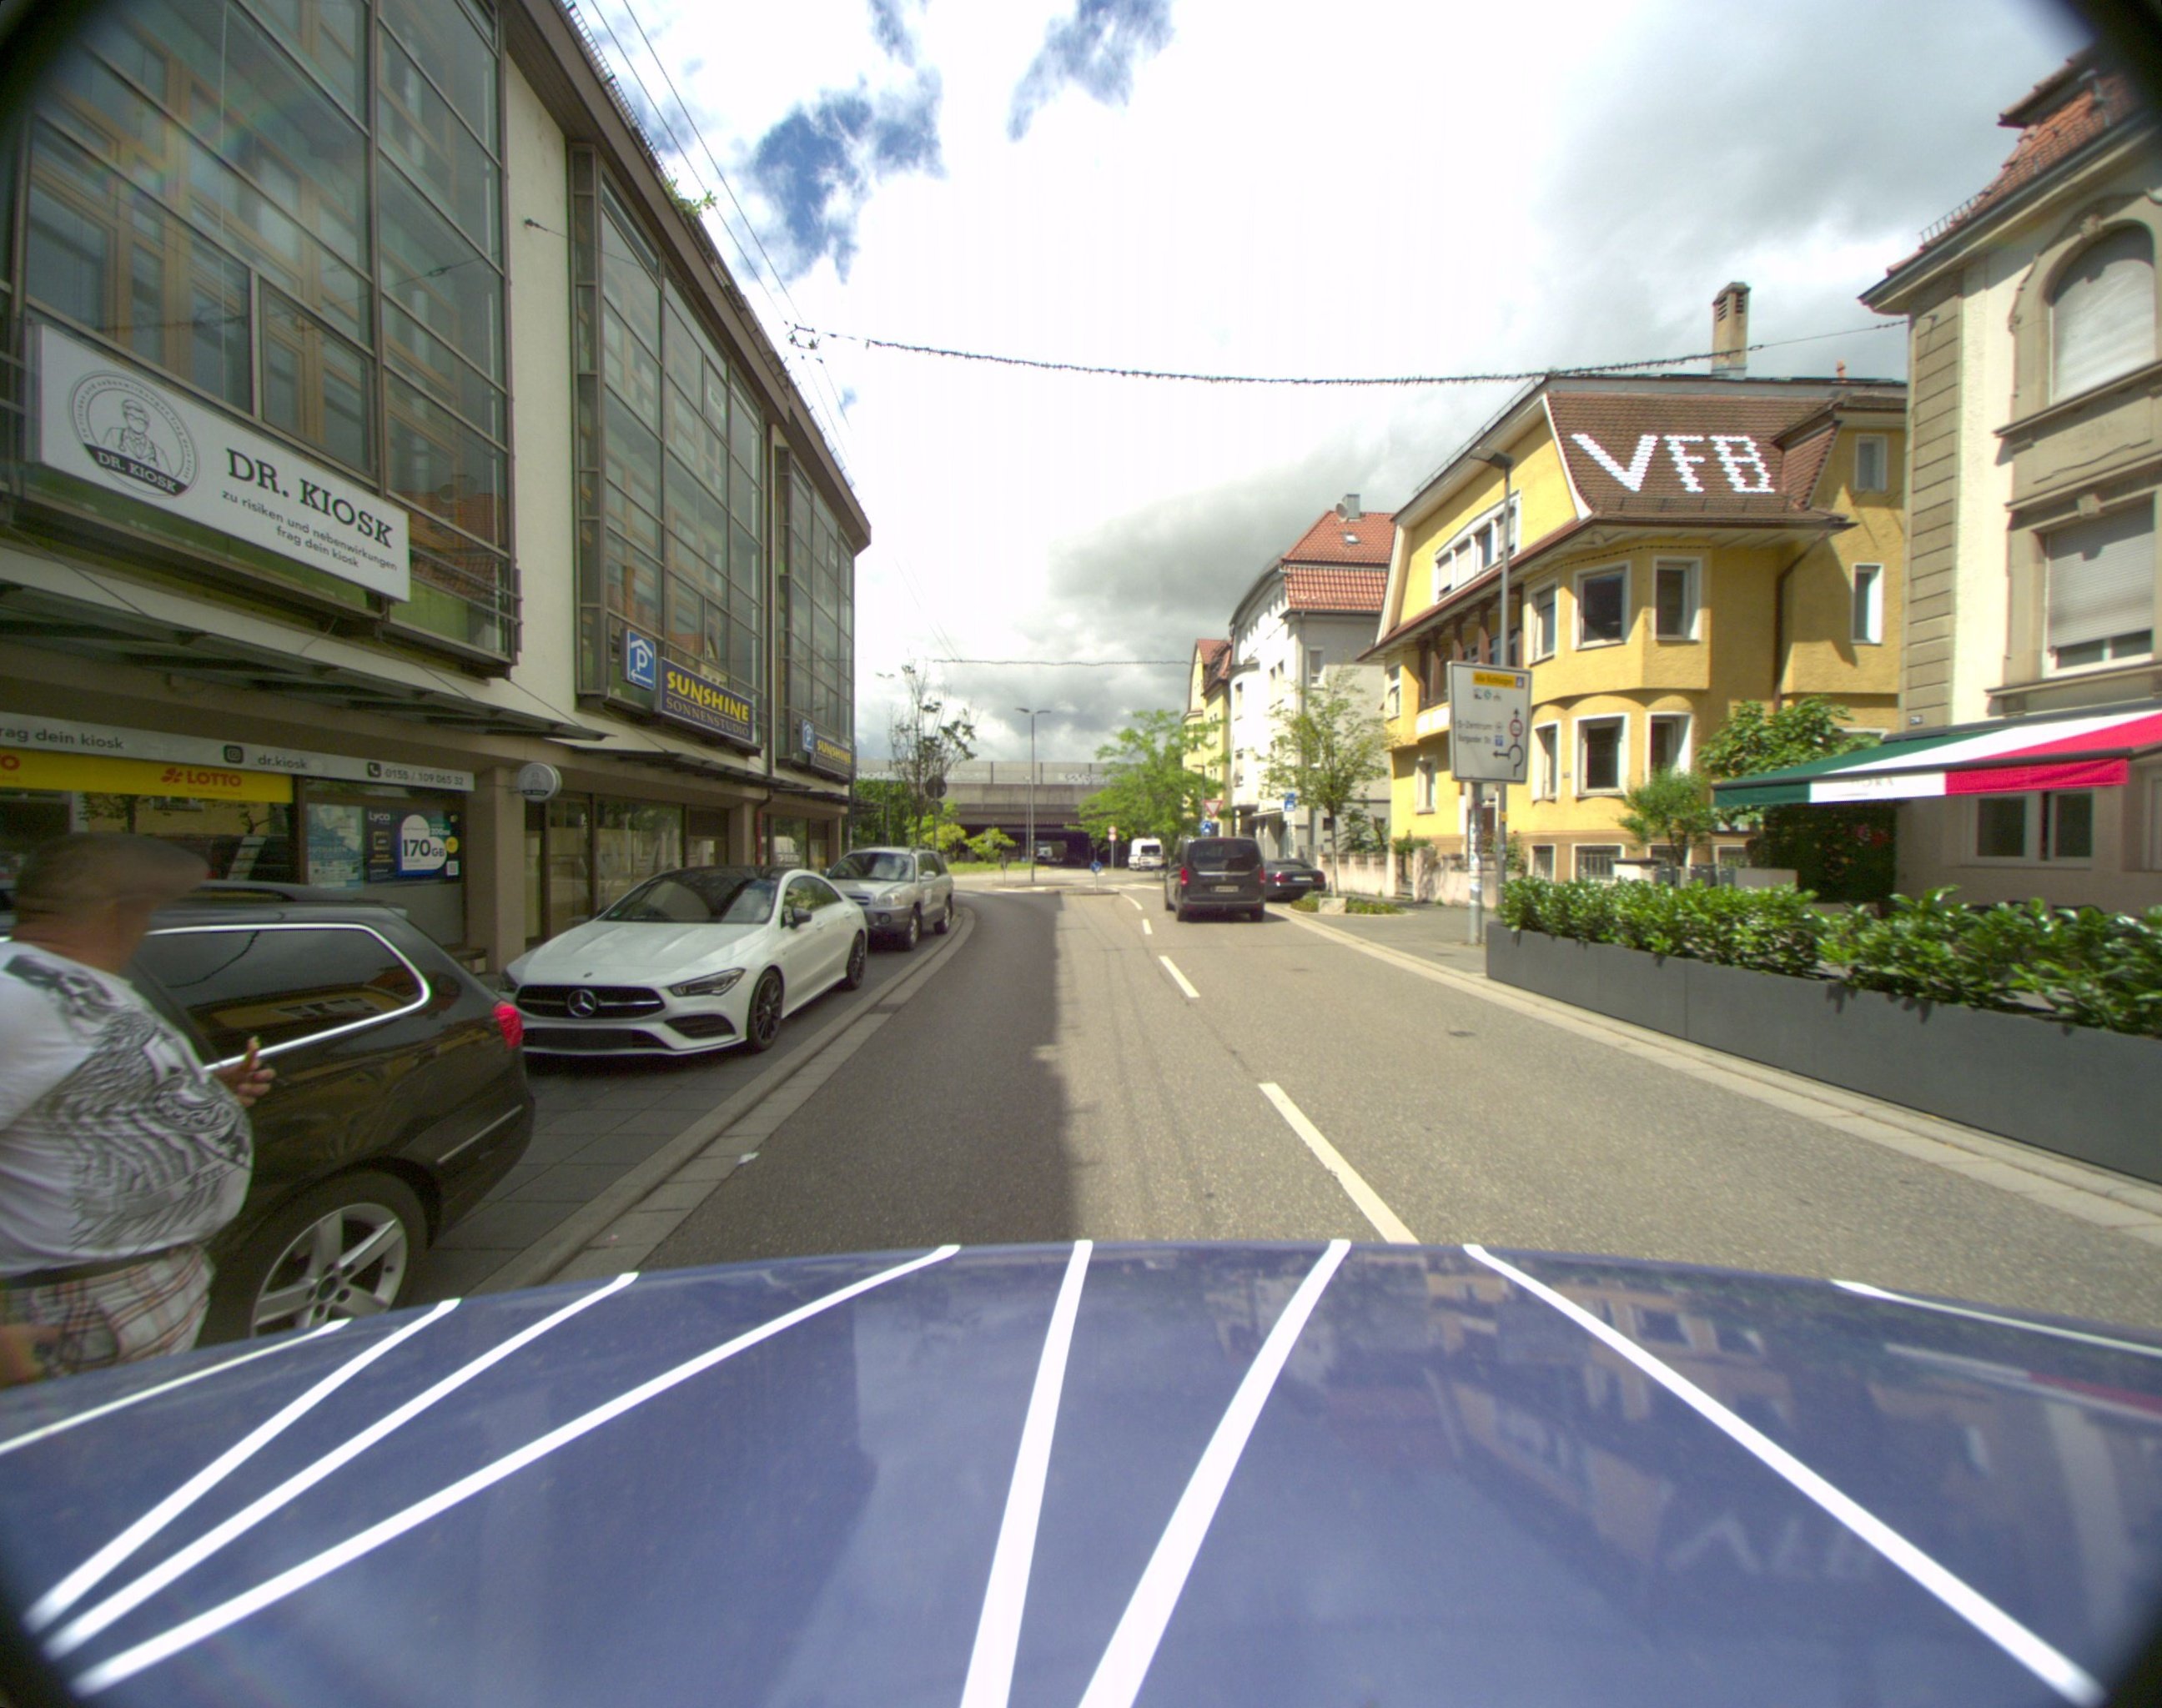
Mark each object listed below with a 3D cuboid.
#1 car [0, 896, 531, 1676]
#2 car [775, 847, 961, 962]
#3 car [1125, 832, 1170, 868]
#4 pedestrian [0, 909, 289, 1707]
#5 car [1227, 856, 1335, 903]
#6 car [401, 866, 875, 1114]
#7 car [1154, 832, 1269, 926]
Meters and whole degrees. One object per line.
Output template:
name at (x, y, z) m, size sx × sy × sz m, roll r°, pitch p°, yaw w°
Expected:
car at (-2.999, 0.915, 0.644) m, size 1.719 × 1.445 × 4.551 m, roll -1°, pitch 1°, yaw 0°
car at (-3.478, 0.717, 13.364) m, size 1.825 × 1.652 × 4.466 m, roll 1°, pitch 1°, yaw 2°
car at (5.298, -0.398, 61.697) m, size 2.310 × 2.657 × 7.264 m, roll -2°, pitch 1°, yaw -5°
pedestrian at (-1.844, 0.908, 1.214) m, size 0.584 × 1.591 × 0.549 m, roll -1°, pitch 2°, yaw 20°
car at (5.995, 0.730, 23.349) m, size 1.722 × 1.296 × 4.464 m, roll -1°, pitch 0°, yaw -6°
car at (-3.425, 0.903, 7.116) m, size 1.857 × 1.436 × 4.534 m, roll -1°, pitch 1°, yaw -2°
car at (2.942, 0.528, 18.292) m, size 1.876 × 1.921 × 5.176 m, roll -1°, pitch 0°, yaw 0°
